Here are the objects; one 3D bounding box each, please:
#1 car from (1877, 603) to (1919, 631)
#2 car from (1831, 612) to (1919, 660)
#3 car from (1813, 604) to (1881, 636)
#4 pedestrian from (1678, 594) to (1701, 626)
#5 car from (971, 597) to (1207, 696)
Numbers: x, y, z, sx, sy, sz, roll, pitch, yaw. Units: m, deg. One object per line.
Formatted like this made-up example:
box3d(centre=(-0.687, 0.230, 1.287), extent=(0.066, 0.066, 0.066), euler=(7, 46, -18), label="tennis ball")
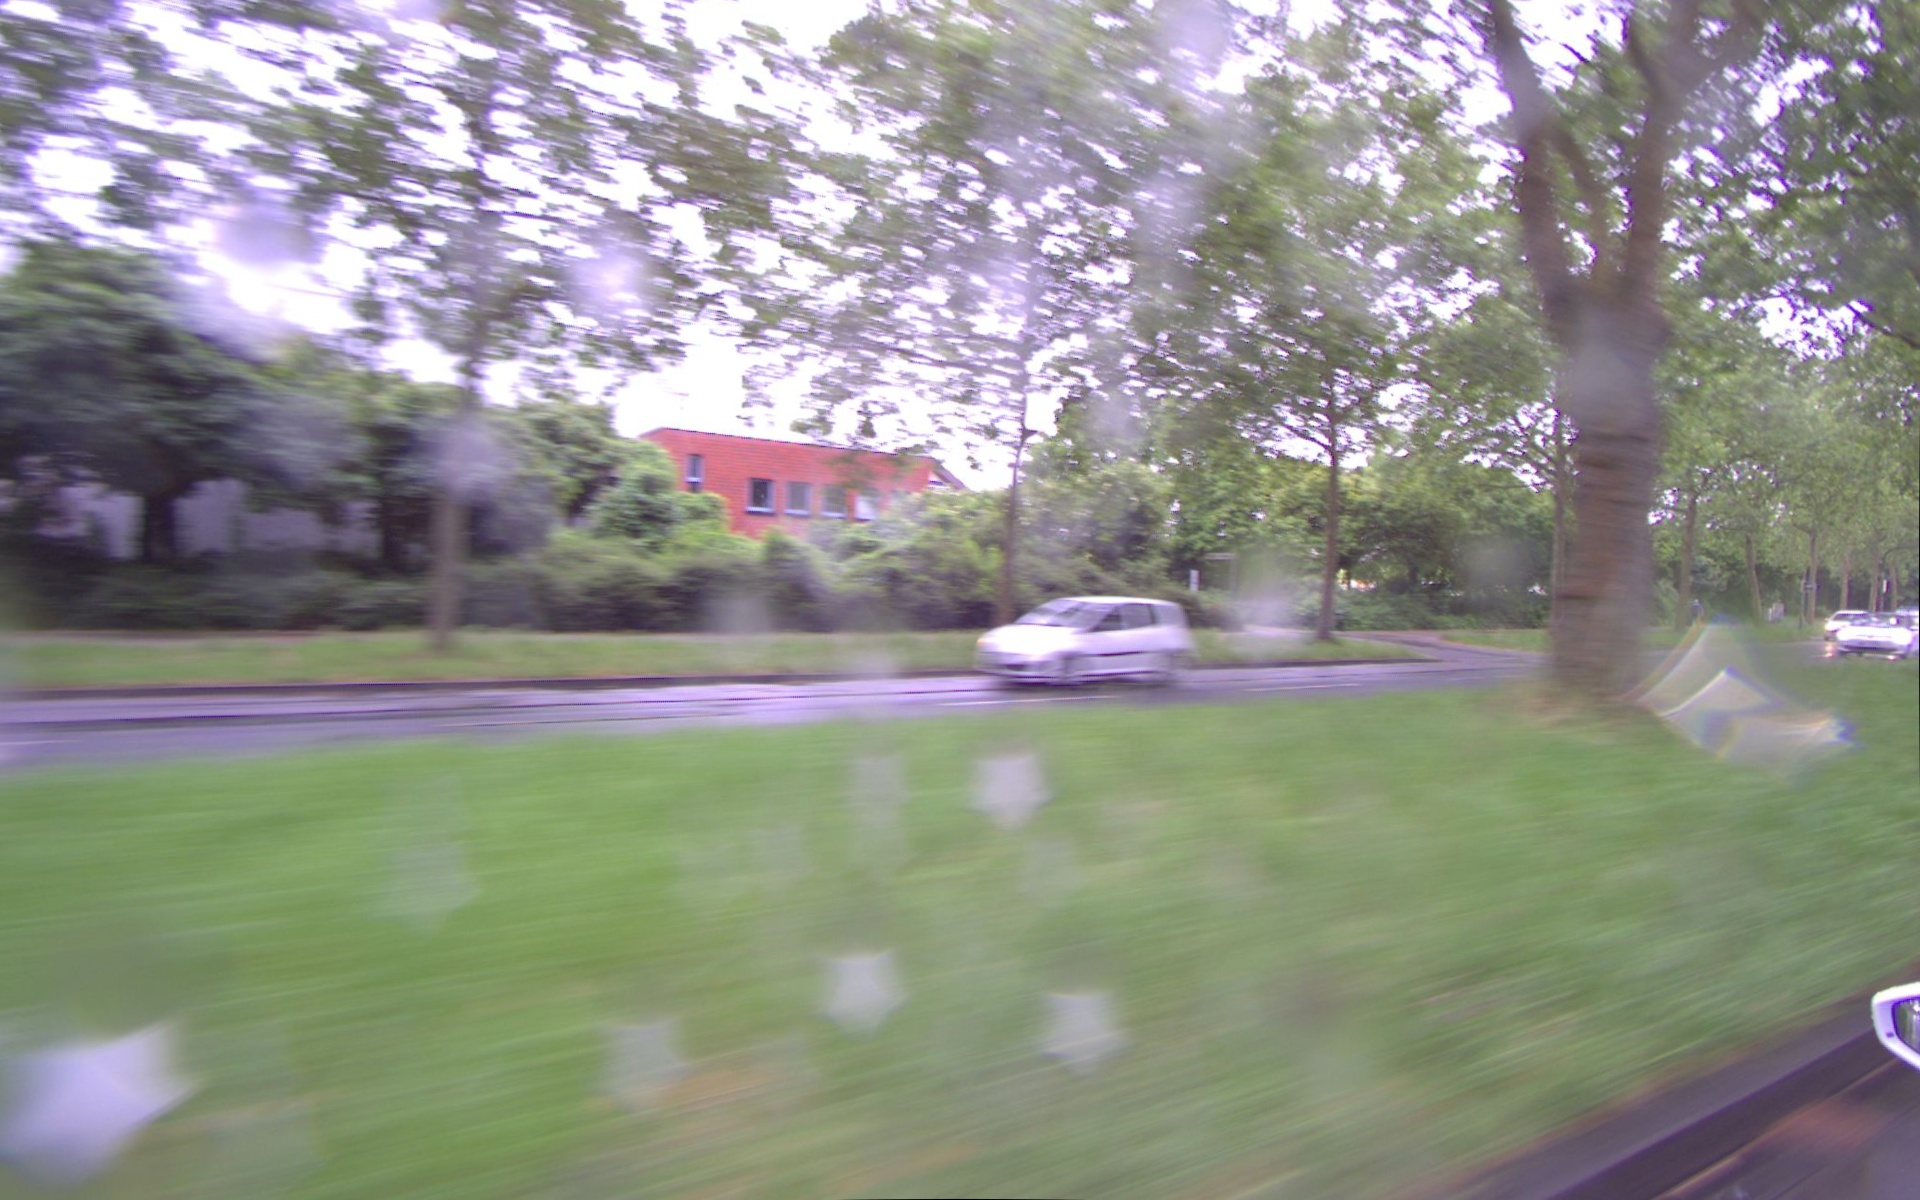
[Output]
box3d(centre=(58.766, 1.057, 62.560), extent=(4.172, 1.612, 1.730), euler=(1, 1, -38), label="car")
box3d(centre=(31.859, 1.217, 34.869), extent=(4.373, 1.496, 1.729), euler=(1, 1, -40), label="car")
box3d(centre=(44.449, 0.990, 50.329), extent=(4.044, 1.496, 1.731), euler=(1, 1, -37), label="car")
box3d(centre=(40.148, 0.552, 55.281), extent=(0.892, 1.696, 0.824), euler=(1, 2, -40), label="pedestrian")
box3d(centre=(2.264, 0.755, 17.317), extent=(3.800, 1.479, 1.733), euler=(1, 1, -33), label="car")
